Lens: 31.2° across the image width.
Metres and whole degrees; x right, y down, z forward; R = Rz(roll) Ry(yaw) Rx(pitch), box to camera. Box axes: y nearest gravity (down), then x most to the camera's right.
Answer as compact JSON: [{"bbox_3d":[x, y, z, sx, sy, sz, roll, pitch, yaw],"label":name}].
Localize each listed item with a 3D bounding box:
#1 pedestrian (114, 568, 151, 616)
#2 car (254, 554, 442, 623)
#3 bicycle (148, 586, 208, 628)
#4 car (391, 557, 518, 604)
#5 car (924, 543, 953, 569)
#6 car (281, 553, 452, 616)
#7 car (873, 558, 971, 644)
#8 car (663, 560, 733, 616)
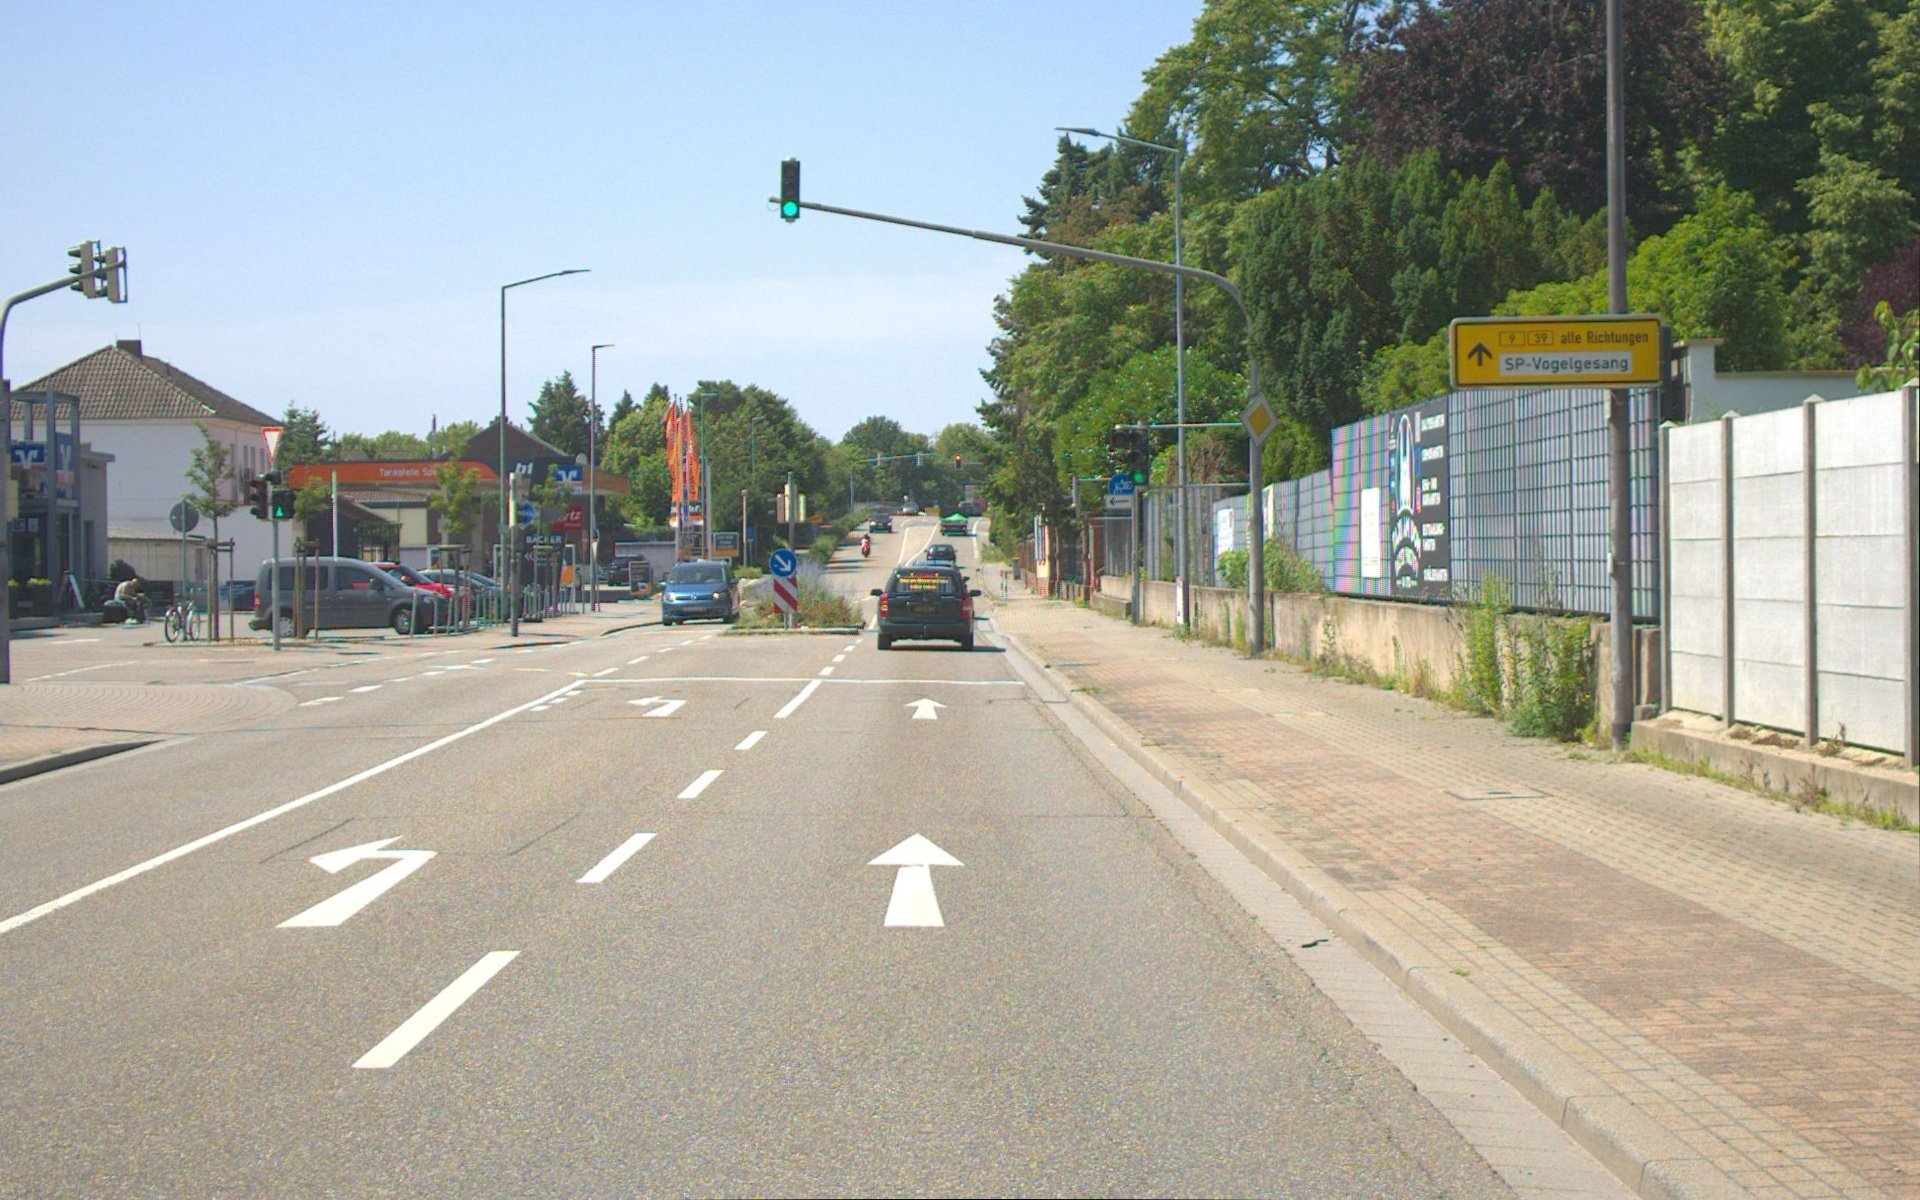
[{"bbox_3d":[-21.779,-0.215,90.465,0.613,1.256,0.755,0,1,26],"label":"pedestrian"},{"bbox_3d":[-13.658,-0.264,76.822,3.986,1.503,1.555,0,1,-4],"label":"car"},{"bbox_3d":[-15.396,0.124,67.733,0.612,0.790,2.575,0,1,-1],"label":"bicycle"},{"bbox_3d":[-16.456,-0.648,112.000,3.986,1.503,1.555,0,1,-4],"label":"car"},{"bbox_3d":[-1.256,-2.576,201.388,1.665,1.450,3.472,0,1,-1],"label":"car"},{"bbox_3d":[-14.551,-0.382,84.405,3.986,1.503,1.555,0,1,-4],"label":"car"},{"bbox_3d":[-0.665,-0.011,60.014,1.665,1.450,3.472,0,1,-1],"label":"car"},{"bbox_3d":[-6.749,-0.324,88.770,1.586,1.388,3.472,0,1,-1],"label":"car"}]
